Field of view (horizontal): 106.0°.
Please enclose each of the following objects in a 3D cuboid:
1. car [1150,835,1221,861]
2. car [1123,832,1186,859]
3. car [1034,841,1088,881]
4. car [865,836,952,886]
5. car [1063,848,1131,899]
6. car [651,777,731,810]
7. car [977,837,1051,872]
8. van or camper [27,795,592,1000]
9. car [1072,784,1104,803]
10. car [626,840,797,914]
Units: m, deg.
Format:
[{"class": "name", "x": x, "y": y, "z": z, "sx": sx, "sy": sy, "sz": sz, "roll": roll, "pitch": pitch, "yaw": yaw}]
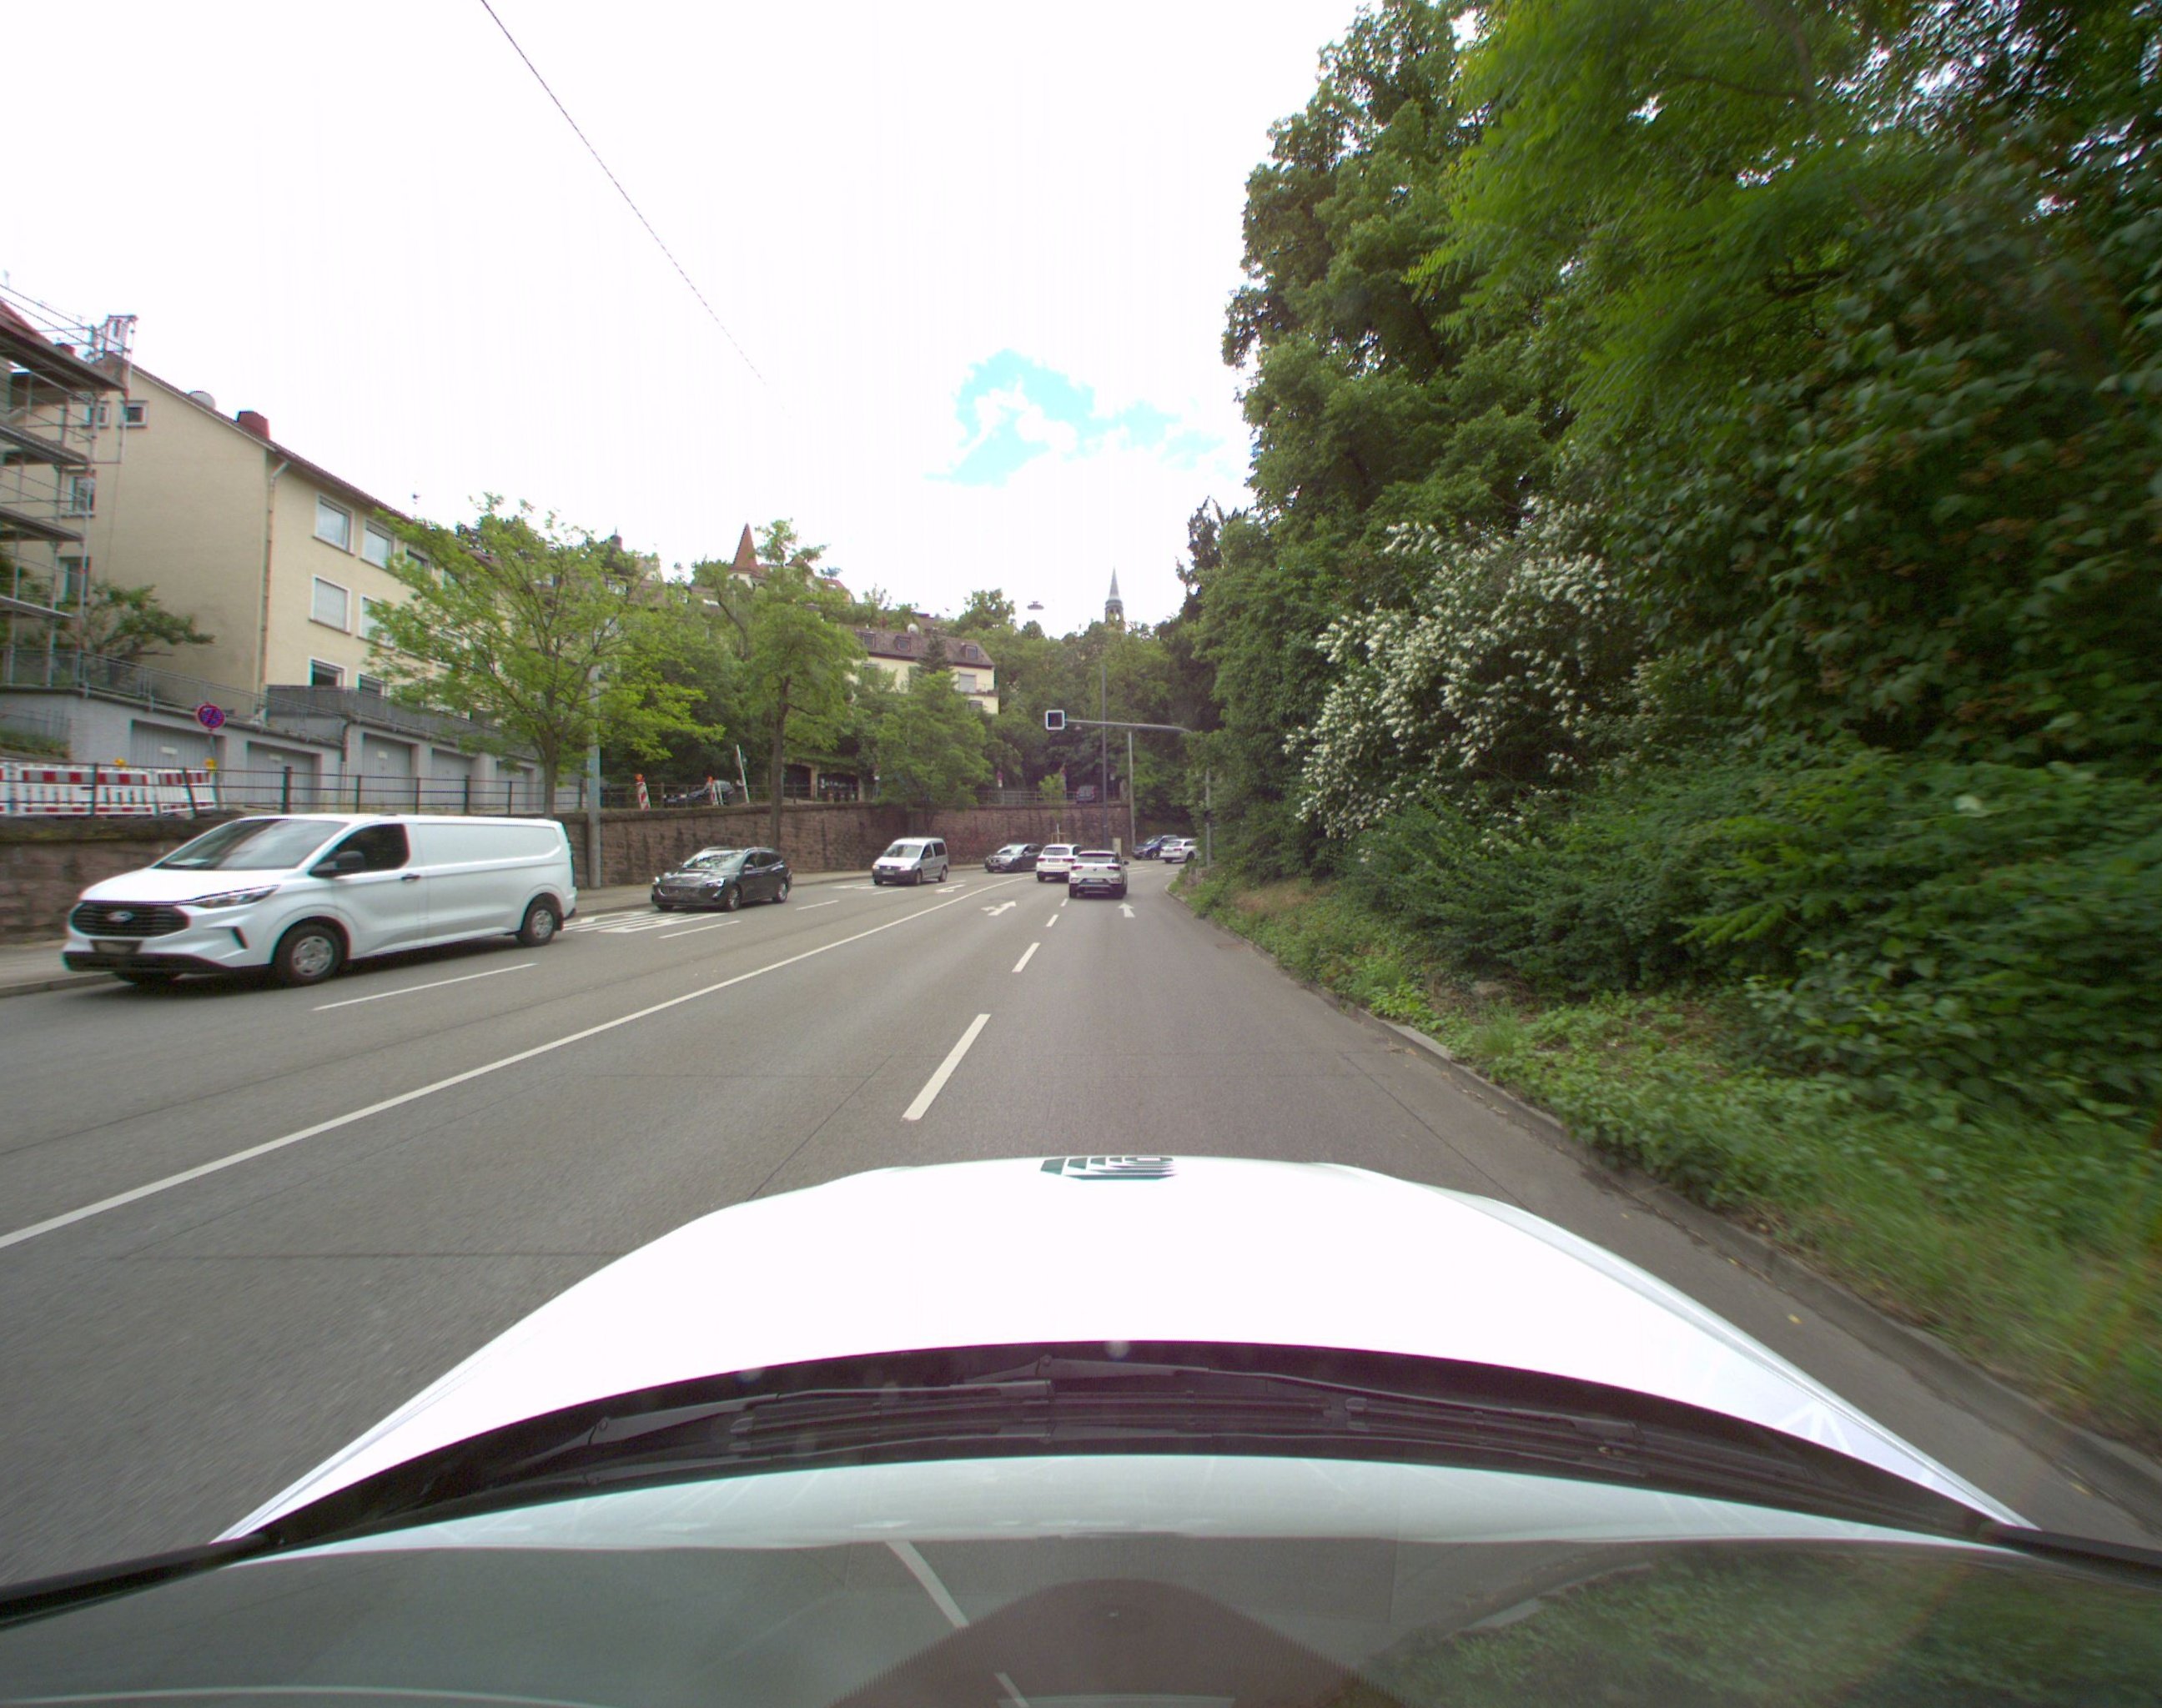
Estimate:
[{"class": "car", "x": 6.518, "y": -0.395, "z": 50.520, "sx": 2.226, "sy": 1.519, "sz": 4.334, "roll": -2, "pitch": 0, "yaw": 42}, {"class": "car", "x": 5.027, "y": -0.601, "z": 55.522, "sx": 4.019, "sy": 1.684, "sz": 1.977, "roll": -2, "pitch": 0, "yaw": -38}, {"class": "car", "x": -0.841, "y": 0.288, "z": 36.806, "sx": 1.867, "sy": 1.652, "sz": 4.349, "roll": 1, "pitch": 0, "yaw": 6}, {"class": "car", "x": -6.740, "y": 0.205, "z": 32.261, "sx": 1.934, "sy": 1.798, "sz": 4.297, "roll": 1, "pitch": 2, "yaw": 9}, {"class": "car", "x": 0.613, "y": 0.593, "z": 27.571, "sx": 1.855, "sy": 1.556, "sz": 3.902, "roll": 2, "pitch": 0, "yaw": 7}, {"class": "car", "x": -18.759, "y": -2.877, "z": 39.336, "sx": 1.540, "sy": 1.279, "sz": 3.612, "roll": -3, "pitch": 0, "yaw": 13}, {"class": "car", "x": -3.458, "y": -0.028, "z": 42.798, "sx": 1.928, "sy": 1.693, "sz": 4.311, "roll": 1, "pitch": 1, "yaw": 25}, {"class": "van or camper", "x": -9.330, "y": 0.426, "z": 10.849, "sx": 1.985, "sy": 2.013, "sz": 5.567, "roll": -1, "pitch": 0, "yaw": 3}, {"class": "car", "x": 0.648, "y": -5.148, "z": 69.314, "sx": 1.980, "sy": 1.485, "sz": 4.015, "roll": -1, "pitch": 4, "yaw": 12}, {"class": "car", "x": -8.963, "y": 0.482, "z": 20.230, "sx": 1.984, "sy": 1.618, "sz": 4.335, "roll": 0, "pitch": 1, "yaw": 4}]
